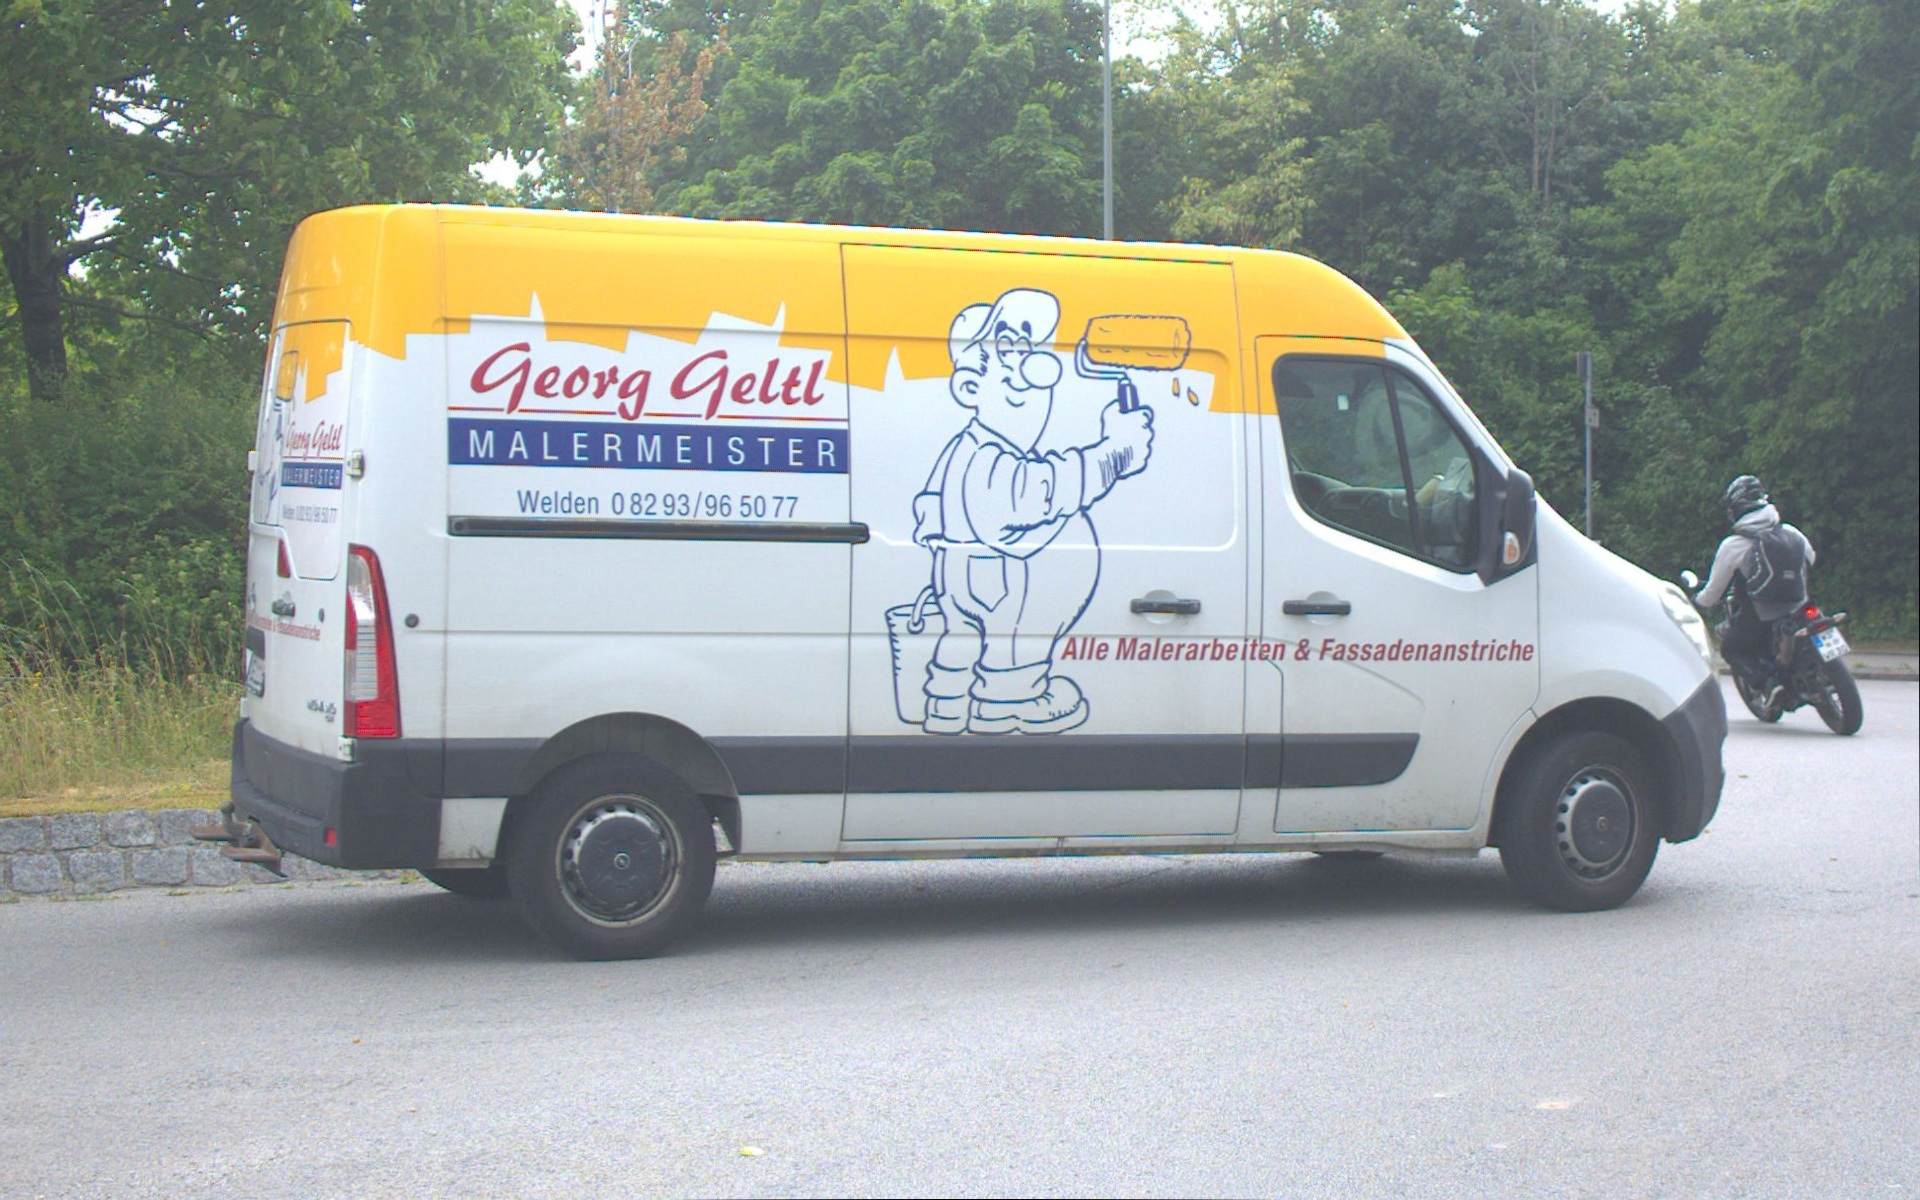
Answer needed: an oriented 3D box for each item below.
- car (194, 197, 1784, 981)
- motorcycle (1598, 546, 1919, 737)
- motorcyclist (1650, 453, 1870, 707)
[{"bbox_3d":[0.081,-0.097,12.674,5.423,2.443,2.170,0,3,-21],"label":"car"},{"bbox_3d":[5.310,0.232,22.499,0.896,1.154,2.621,0,1,-24],"label":"motorcycle"},{"bbox_3d":[5.253,-0.142,22.636,0.861,1.618,1.191,0,1,-24],"label":"motorcyclist"}]
